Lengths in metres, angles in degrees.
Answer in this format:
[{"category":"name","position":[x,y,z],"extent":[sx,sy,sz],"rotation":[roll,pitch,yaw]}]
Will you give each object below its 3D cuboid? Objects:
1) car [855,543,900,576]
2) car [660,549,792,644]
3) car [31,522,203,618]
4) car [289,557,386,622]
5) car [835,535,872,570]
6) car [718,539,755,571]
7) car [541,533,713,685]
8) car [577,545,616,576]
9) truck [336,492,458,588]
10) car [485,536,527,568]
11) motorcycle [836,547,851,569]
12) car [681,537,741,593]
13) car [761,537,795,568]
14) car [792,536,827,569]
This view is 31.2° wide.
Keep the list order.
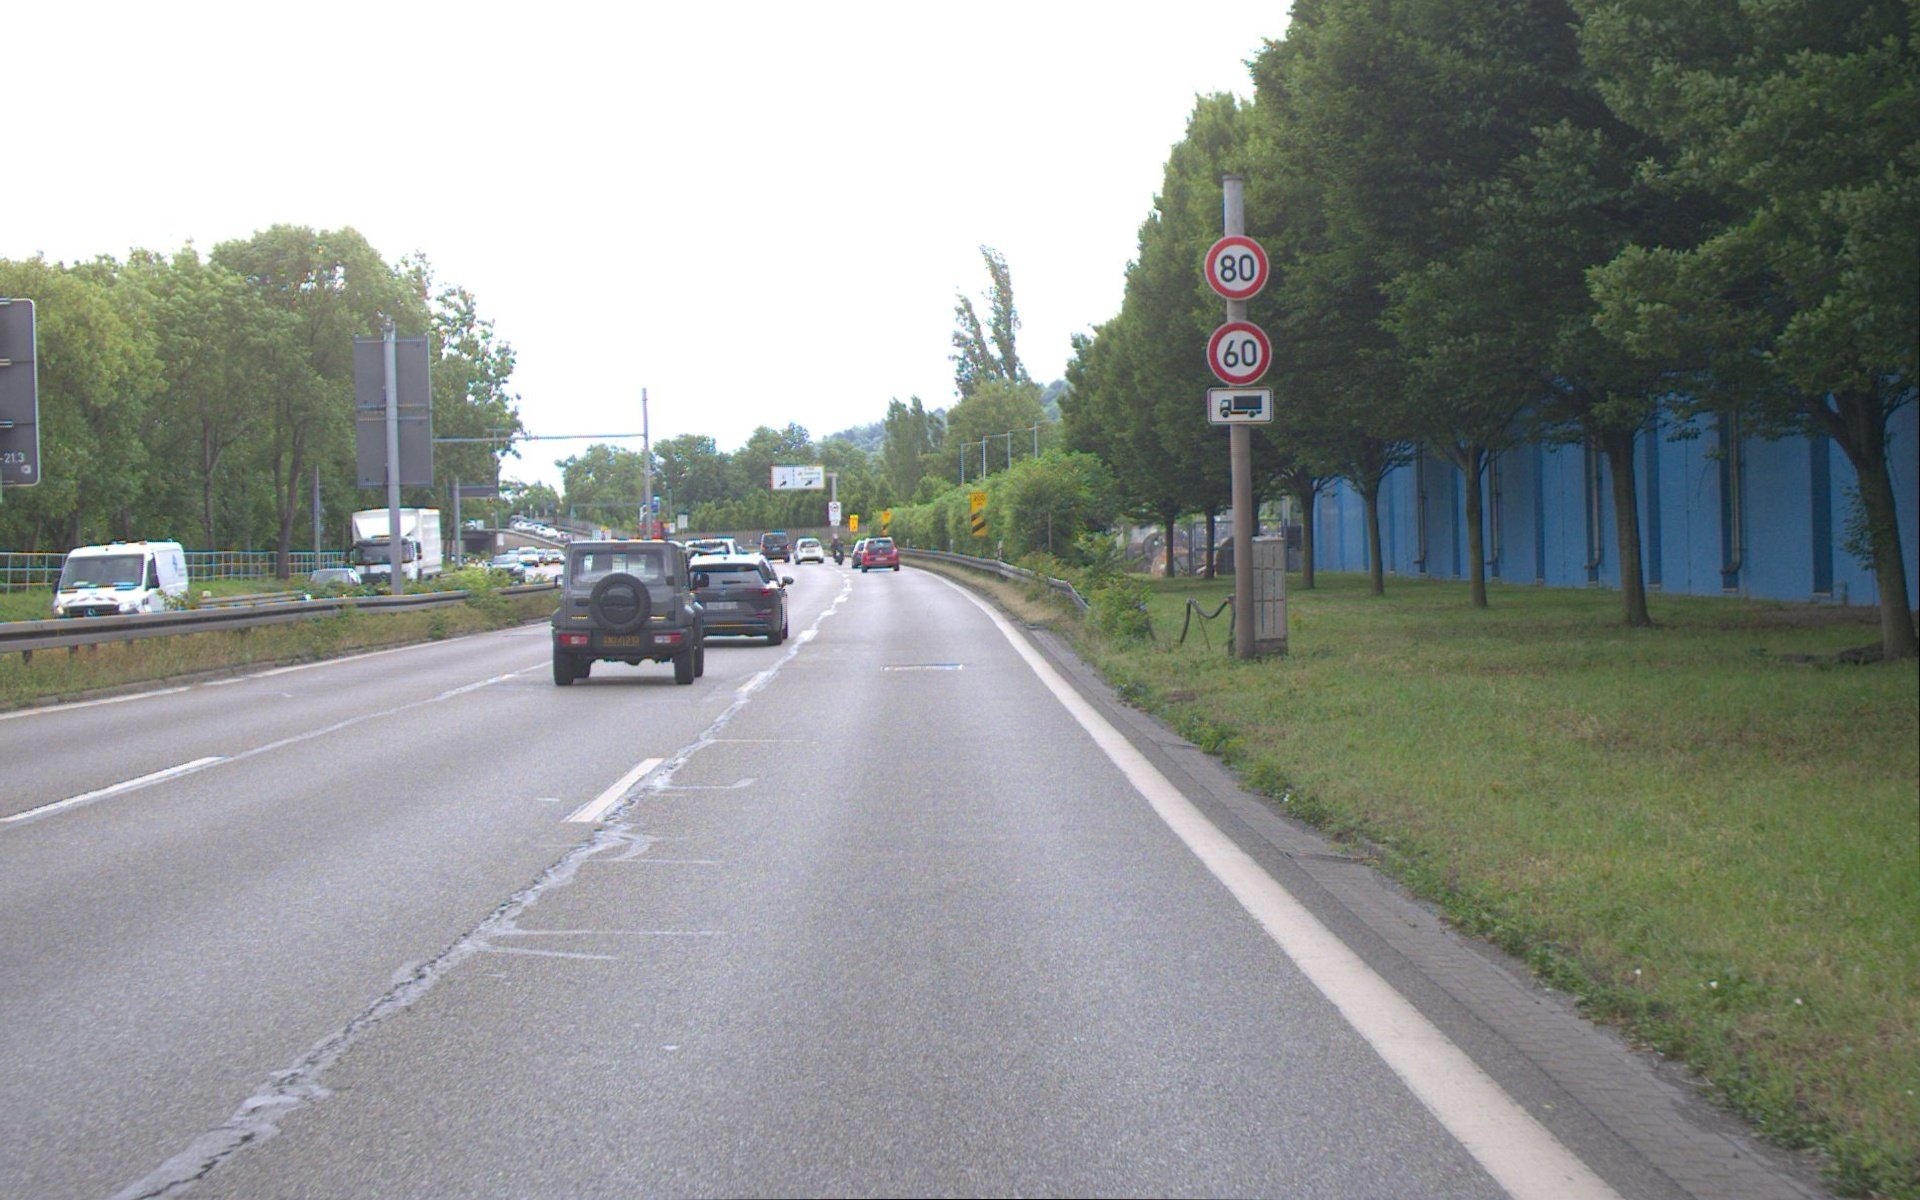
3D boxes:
[{"category":"car","position":[-3.782,-1.856,156.514],"extent":[1.974,1.418,4.901],"rotation":[-3,1,-2]},{"category":"car","position":[-3.721,-0.085,55.397],"extent":[1.845,1.418,4.901],"rotation":[-1,1,-1]},{"category":"car","position":[-18.326,-0.684,74.986],"extent":[2.226,1.941,5.474],"rotation":[-2,1,1]},{"category":"car","position":[-17.674,-0.310,97.794],"extent":[1.878,1.719,4.146],"rotation":[-1,1,2]},{"category":"car","position":[-5.474,-2.459,176.999],"extent":[1.697,1.736,4.393],"rotation":[-2,1,0]},{"category":"car","position":[-12.627,-2.559,194.169],"extent":[1.697,1.736,4.393],"rotation":[-3,1,0]},{"category":"car","position":[-3.941,0.066,41.213],"extent":[1.697,1.680,4.000],"rotation":[1,1,-1]},{"category":"car","position":[-20.904,-2.290,197.917],"extent":[1.697,1.599,4.539],"rotation":[-4,1,-1]},{"category":"truck","position":[-22.164,-2.358,135.876],"extent":[2.889,3.566,9.587],"rotation":[-2,1,1]},{"category":"car","position":[-24.771,-2.626,187.588],"extent":[1.726,1.599,4.042],"rotation":[-4,1,-1]},{"category":"motorcycle","position":[-6.618,-2.404,195.656],"extent":[0.791,1.215,2.330],"rotation":[-1,1,-1]},{"category":"car","position":[-8.070,-1.161,111.621],"extent":[1.697,1.736,4.000],"rotation":[-2,1,-2]},{"category":"car","position":[-12.041,-3.139,227.204],"extent":[2.013,1.927,4.901],"rotation":[-3,1,-5]},{"category":"car","position":[-9.251,-2.922,211.075],"extent":[2.013,1.927,4.901],"rotation":[-3,1,-2]}]
